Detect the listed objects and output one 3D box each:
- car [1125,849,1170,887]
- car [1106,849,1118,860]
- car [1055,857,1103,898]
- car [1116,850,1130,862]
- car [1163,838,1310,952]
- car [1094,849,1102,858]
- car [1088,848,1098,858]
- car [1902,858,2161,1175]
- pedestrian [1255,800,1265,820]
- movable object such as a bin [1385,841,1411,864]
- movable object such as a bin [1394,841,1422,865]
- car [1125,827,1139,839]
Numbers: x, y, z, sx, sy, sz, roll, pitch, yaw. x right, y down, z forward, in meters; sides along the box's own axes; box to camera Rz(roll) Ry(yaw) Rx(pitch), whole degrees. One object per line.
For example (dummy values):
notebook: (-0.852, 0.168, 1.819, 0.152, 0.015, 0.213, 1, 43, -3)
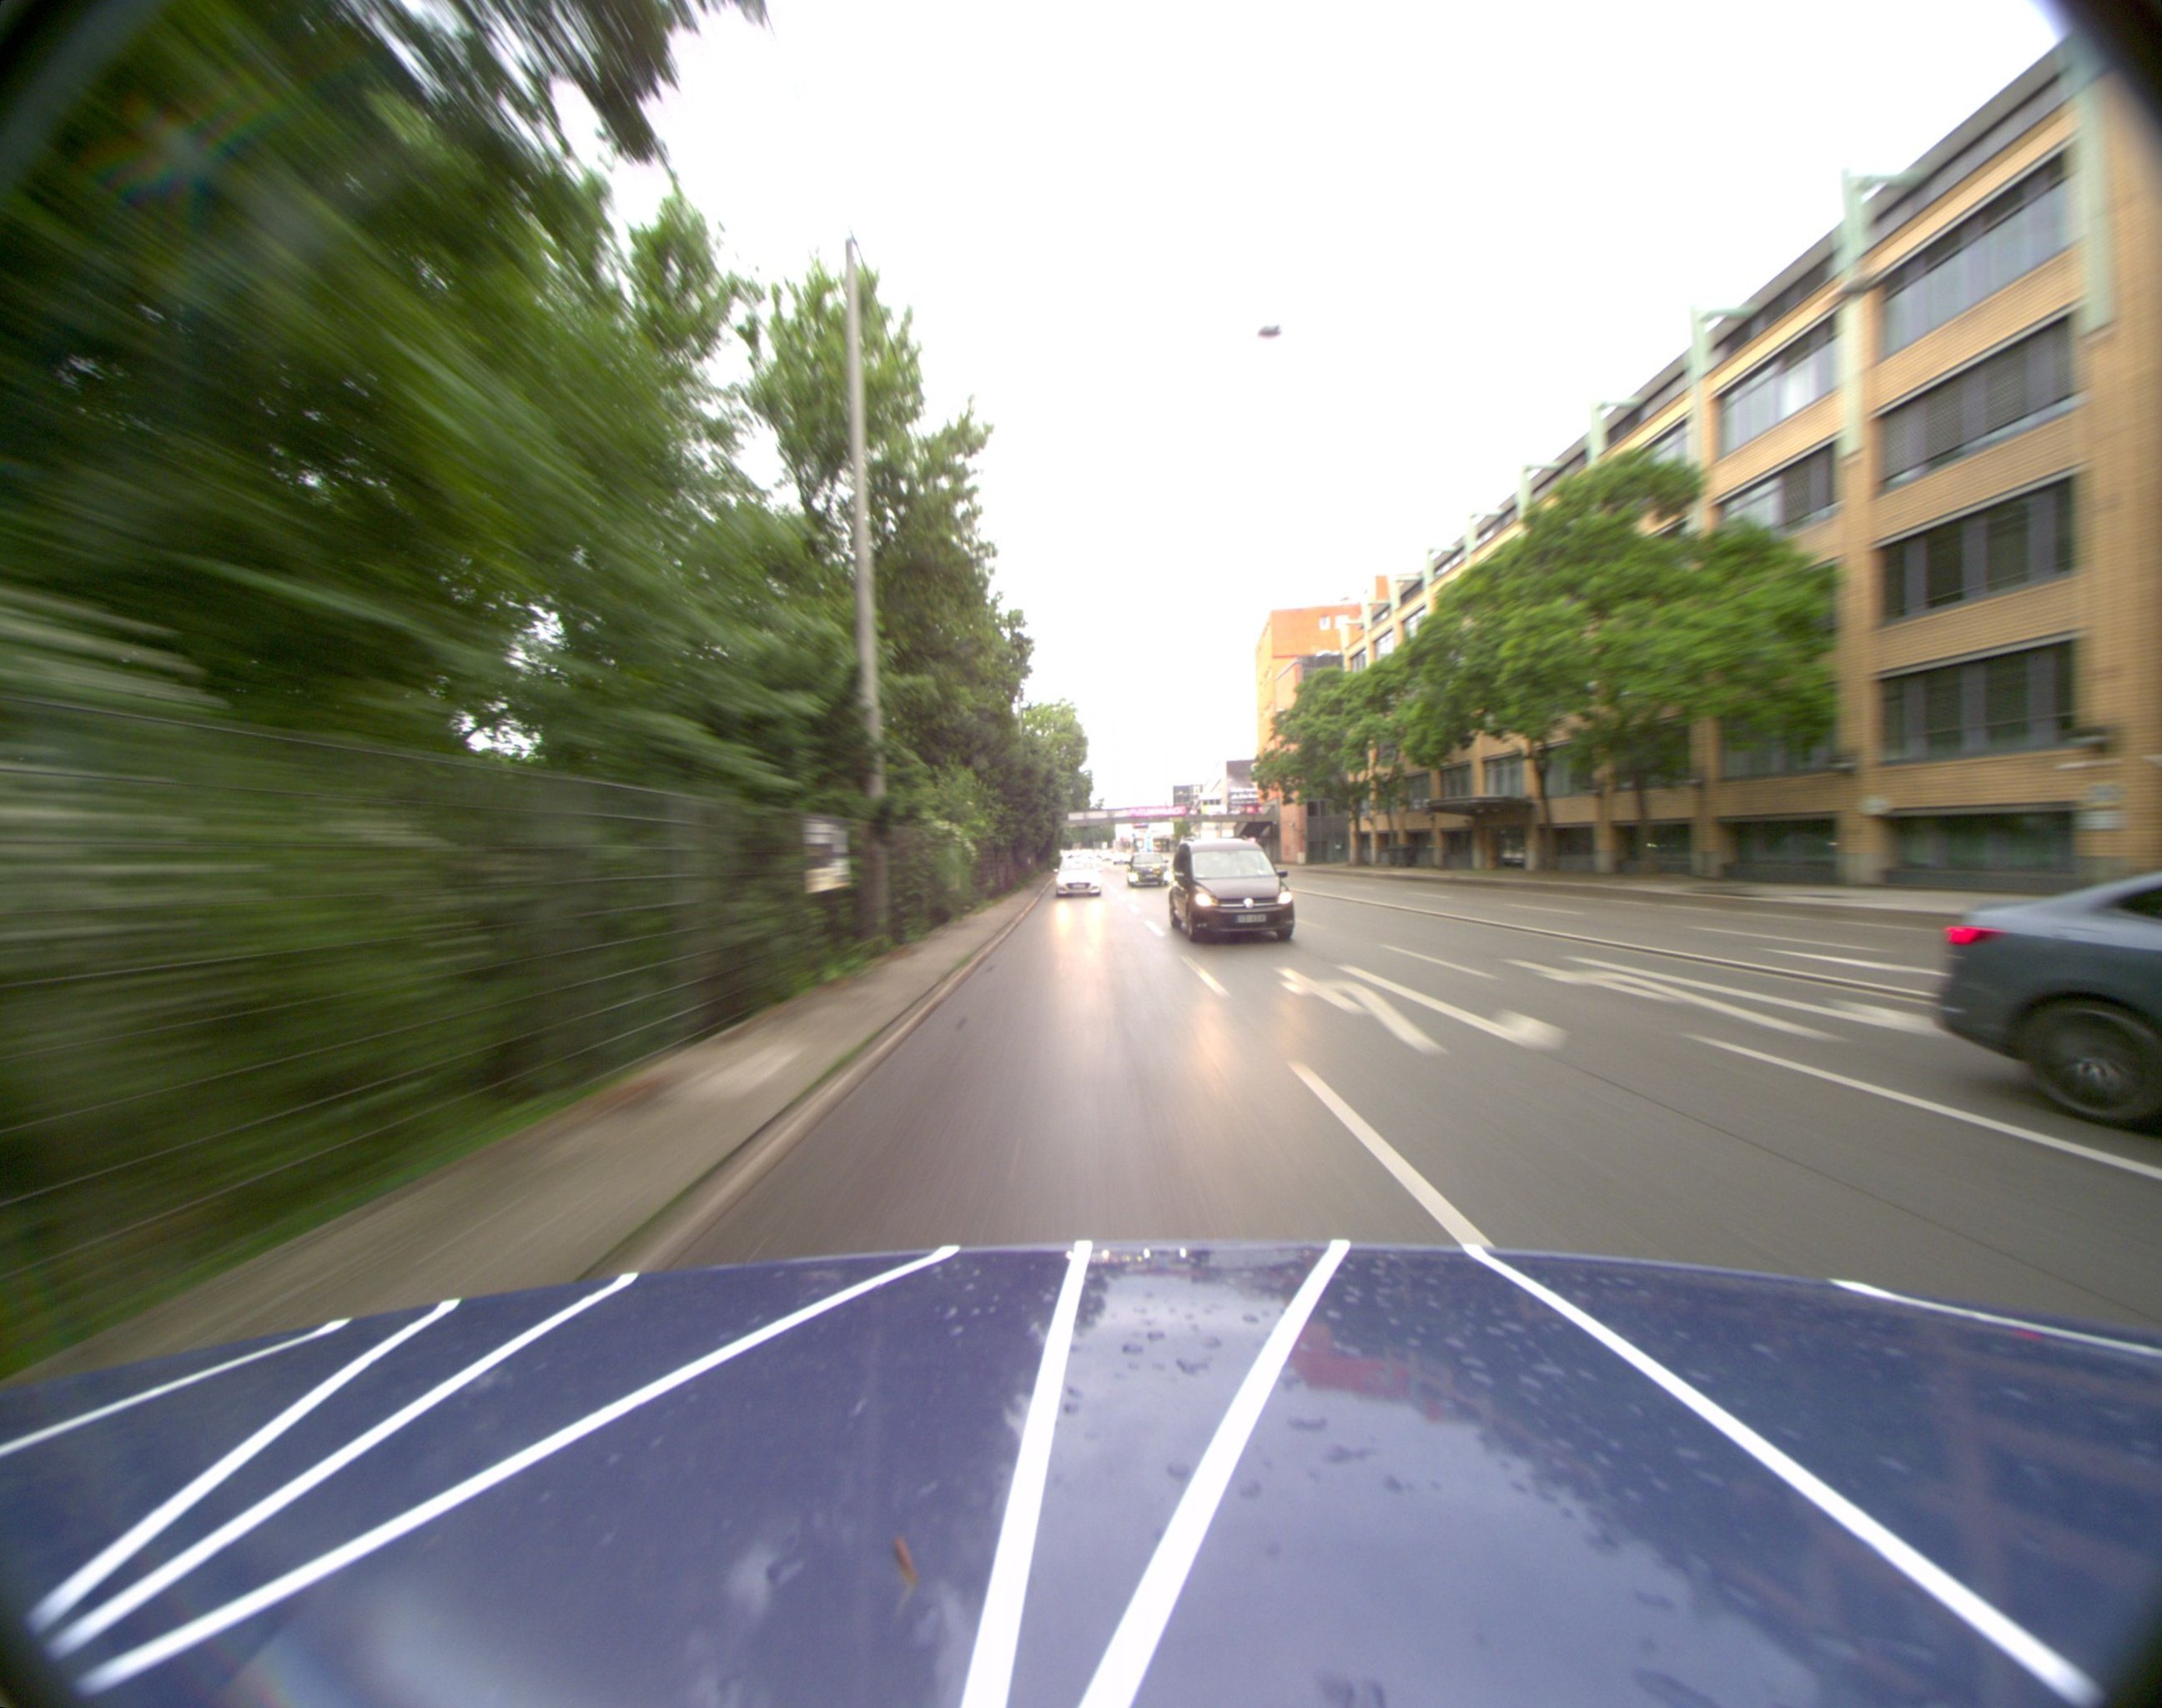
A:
car: (3.155, 0.633, 36.633, 1.731, 1.604, 3.999, -3, 1, -1)
car: (5.630, 0.043, 138.672, 1.878, 1.762, 3.999, -4, 1, 1)
car: (-0.105, 0.896, 30.716, 1.731, 1.431, 3.999, -3, 1, -1)
car: (5.737, 0.274, 103.284, 1.730, 1.502, 3.732, -3, 1, 4)
car: (2.698, 0.652, 14.115, 1.842, 1.780, 3.999, -1, 0, -1)
car: (4.083, -0.137, 181.918, 1.878, 1.762, 3.999, -4, 1, 1)
car: (2.308, -0.143, 149.121, 1.878, 1.762, 3.999, -4, 1, 1)
car: (5.805, 0.769, 2.343, 1.669, 1.407, 4.539, -1, 1, 0)
pedestrian: (19.809, -4.886, 84.115, 0.833, 2.242, 0.738, -1, 2, -6)
movable object such as a bin: (20.591, -0.075, 49.385, 0.976, 1.428, 1.313, -4, 1, -4)
movable object such as a bin: (20.676, -0.081, 48.033, 1.071, 1.428, 1.372, -4, 1, -4)
car: (7.544, -3.092, 112.744, 1.823, 1.603, 4.001, -4, 1, 6)
